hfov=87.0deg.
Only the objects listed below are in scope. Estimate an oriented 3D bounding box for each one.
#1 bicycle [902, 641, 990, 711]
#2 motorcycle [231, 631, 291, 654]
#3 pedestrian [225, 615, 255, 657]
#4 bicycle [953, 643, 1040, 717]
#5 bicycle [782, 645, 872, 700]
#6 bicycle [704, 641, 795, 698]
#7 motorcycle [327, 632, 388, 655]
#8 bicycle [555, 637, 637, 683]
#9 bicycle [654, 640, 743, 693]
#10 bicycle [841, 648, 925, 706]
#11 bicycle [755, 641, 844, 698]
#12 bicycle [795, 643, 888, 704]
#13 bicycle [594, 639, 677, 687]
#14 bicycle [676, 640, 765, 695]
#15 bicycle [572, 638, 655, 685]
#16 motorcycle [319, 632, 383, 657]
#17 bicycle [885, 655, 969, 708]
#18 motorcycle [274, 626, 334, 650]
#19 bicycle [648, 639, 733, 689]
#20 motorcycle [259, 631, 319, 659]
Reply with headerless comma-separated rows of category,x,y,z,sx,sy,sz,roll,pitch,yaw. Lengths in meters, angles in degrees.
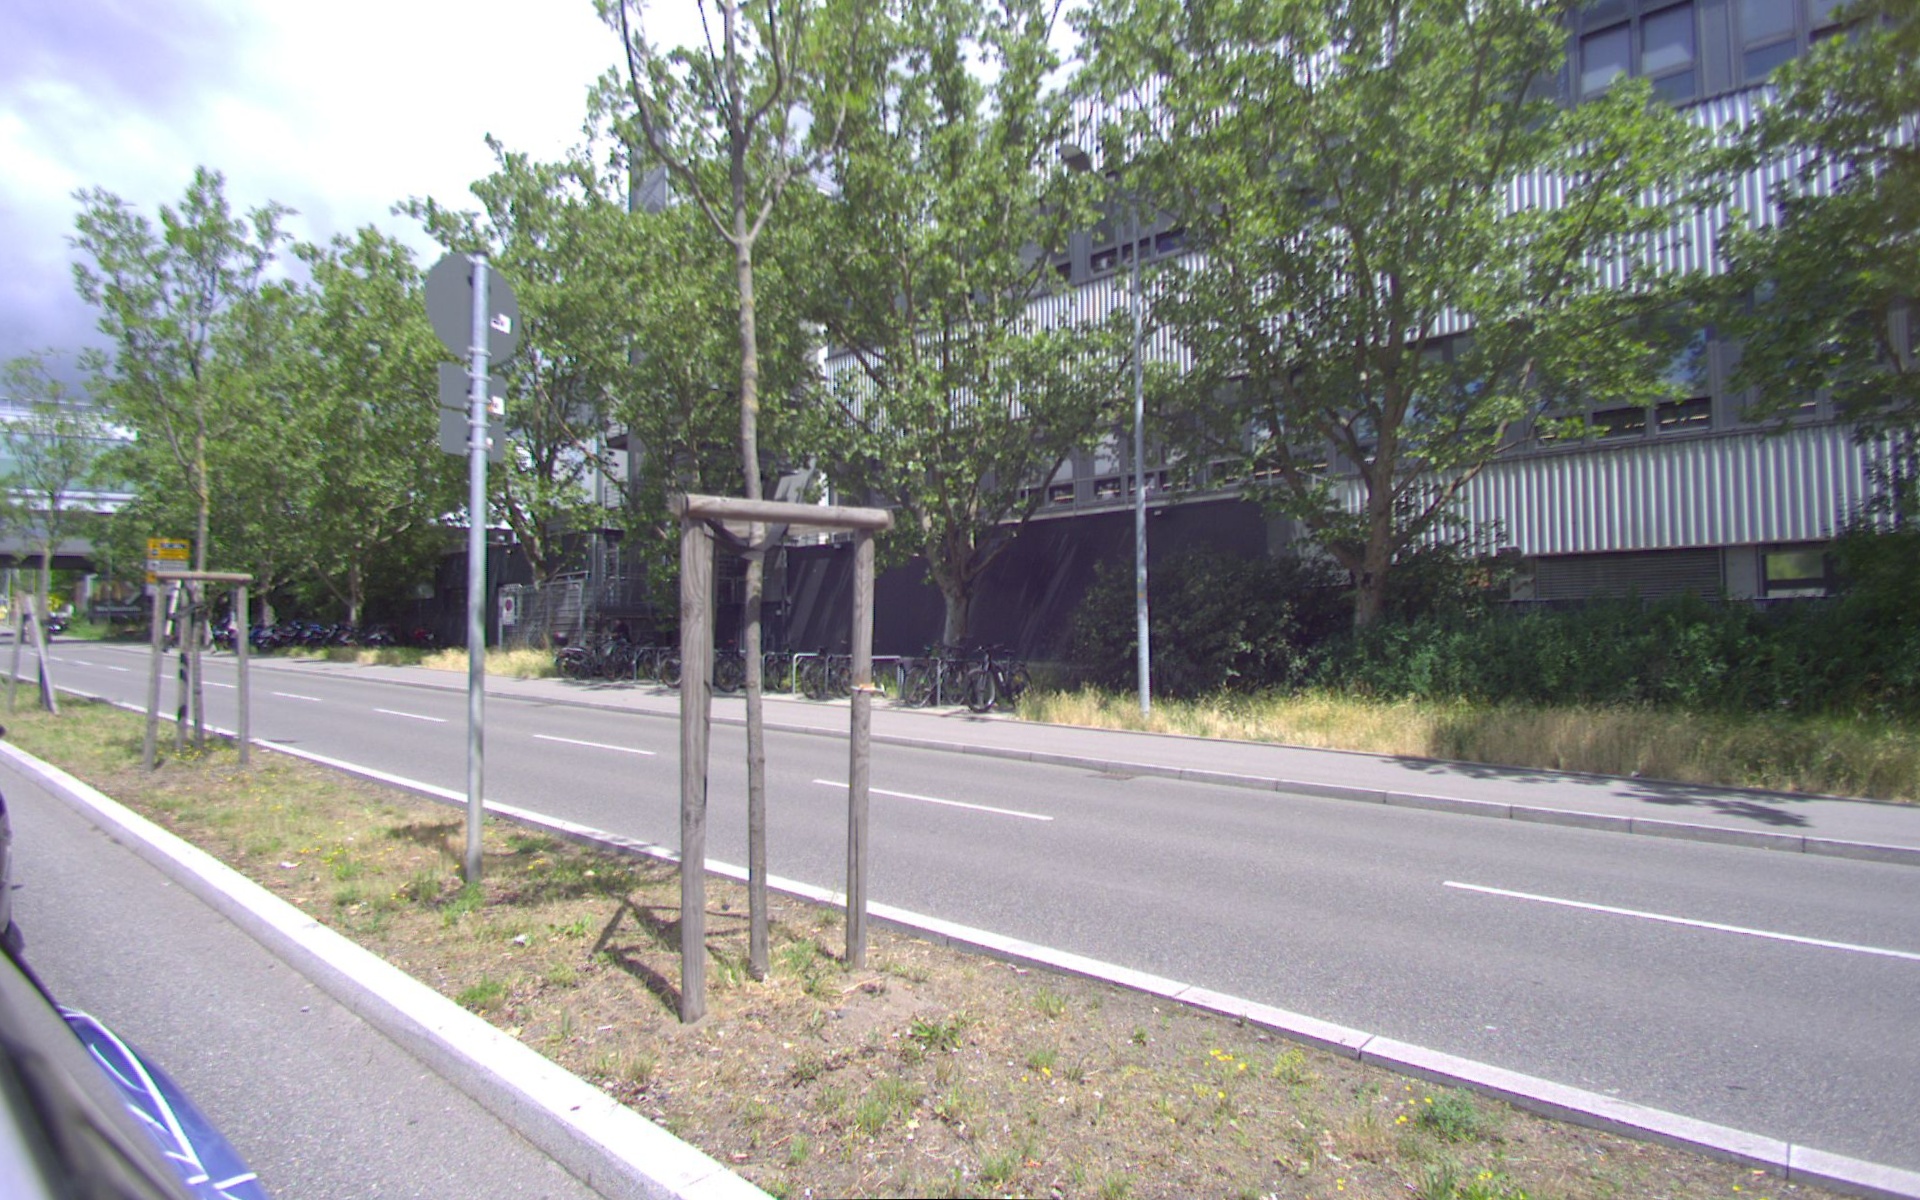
bicycle,-0.223,1.339,18.124,0.381,1.137,1.968,-2,-1,39
motorcycle,-30.711,1.862,44.474,0.534,0.976,2.105,-2,-1,41
pedestrian,-30.390,1.515,42.712,0.672,1.734,0.888,-2,-2,41
bicycle,0.656,1.342,17.402,0.381,1.137,1.968,-2,-1,39
bicycle,-2.747,1.483,21.141,0.382,1.038,2.101,-2,-1,43
bicycle,-4.546,1.483,22.021,0.382,1.119,2.101,-2,-1,43
motorcycle,-24.901,1.795,41.862,0.534,0.892,2.105,-2,-1,41
bicycle,-9.549,1.556,26.636,0.382,1.119,2.101,-2,-1,43
bicycle,-5.993,1.504,23.268,0.382,1.119,2.101,-2,-1,43
bicycle,-1.473,1.480,19.711,0.381,1.005,1.968,-2,-1,39
bicycle,-3.415,1.460,21.755,0.382,1.119,2.101,-2,-1,43
bicycle,-2.343,1.438,20.232,0.382,1.104,2.101,-2,-1,43
bicycle,-8.164,1.571,25.542,0.382,1.119,2.101,-2,-1,43
bicycle,-5.337,1.492,22.671,0.382,1.119,2.101,-2,-1,43
bicycle,-8.908,1.575,26.090,0.382,1.119,2.101,-2,-1,43
motorcycle,-23.946,1.744,39.810,0.534,0.905,2.105,-2,-1,41
bicycle,-0.601,1.524,19.225,0.381,0.897,1.968,-2,-1,39
motorcycle,-28.025,1.598,43.259,0.534,0.976,2.105,-2,-1,41
bicycle,-6.484,1.515,24.418,0.382,1.119,2.101,-2,-1,43
motorcycle,-29.142,1.922,43.961,0.534,1.146,2.105,-2,-1,41
